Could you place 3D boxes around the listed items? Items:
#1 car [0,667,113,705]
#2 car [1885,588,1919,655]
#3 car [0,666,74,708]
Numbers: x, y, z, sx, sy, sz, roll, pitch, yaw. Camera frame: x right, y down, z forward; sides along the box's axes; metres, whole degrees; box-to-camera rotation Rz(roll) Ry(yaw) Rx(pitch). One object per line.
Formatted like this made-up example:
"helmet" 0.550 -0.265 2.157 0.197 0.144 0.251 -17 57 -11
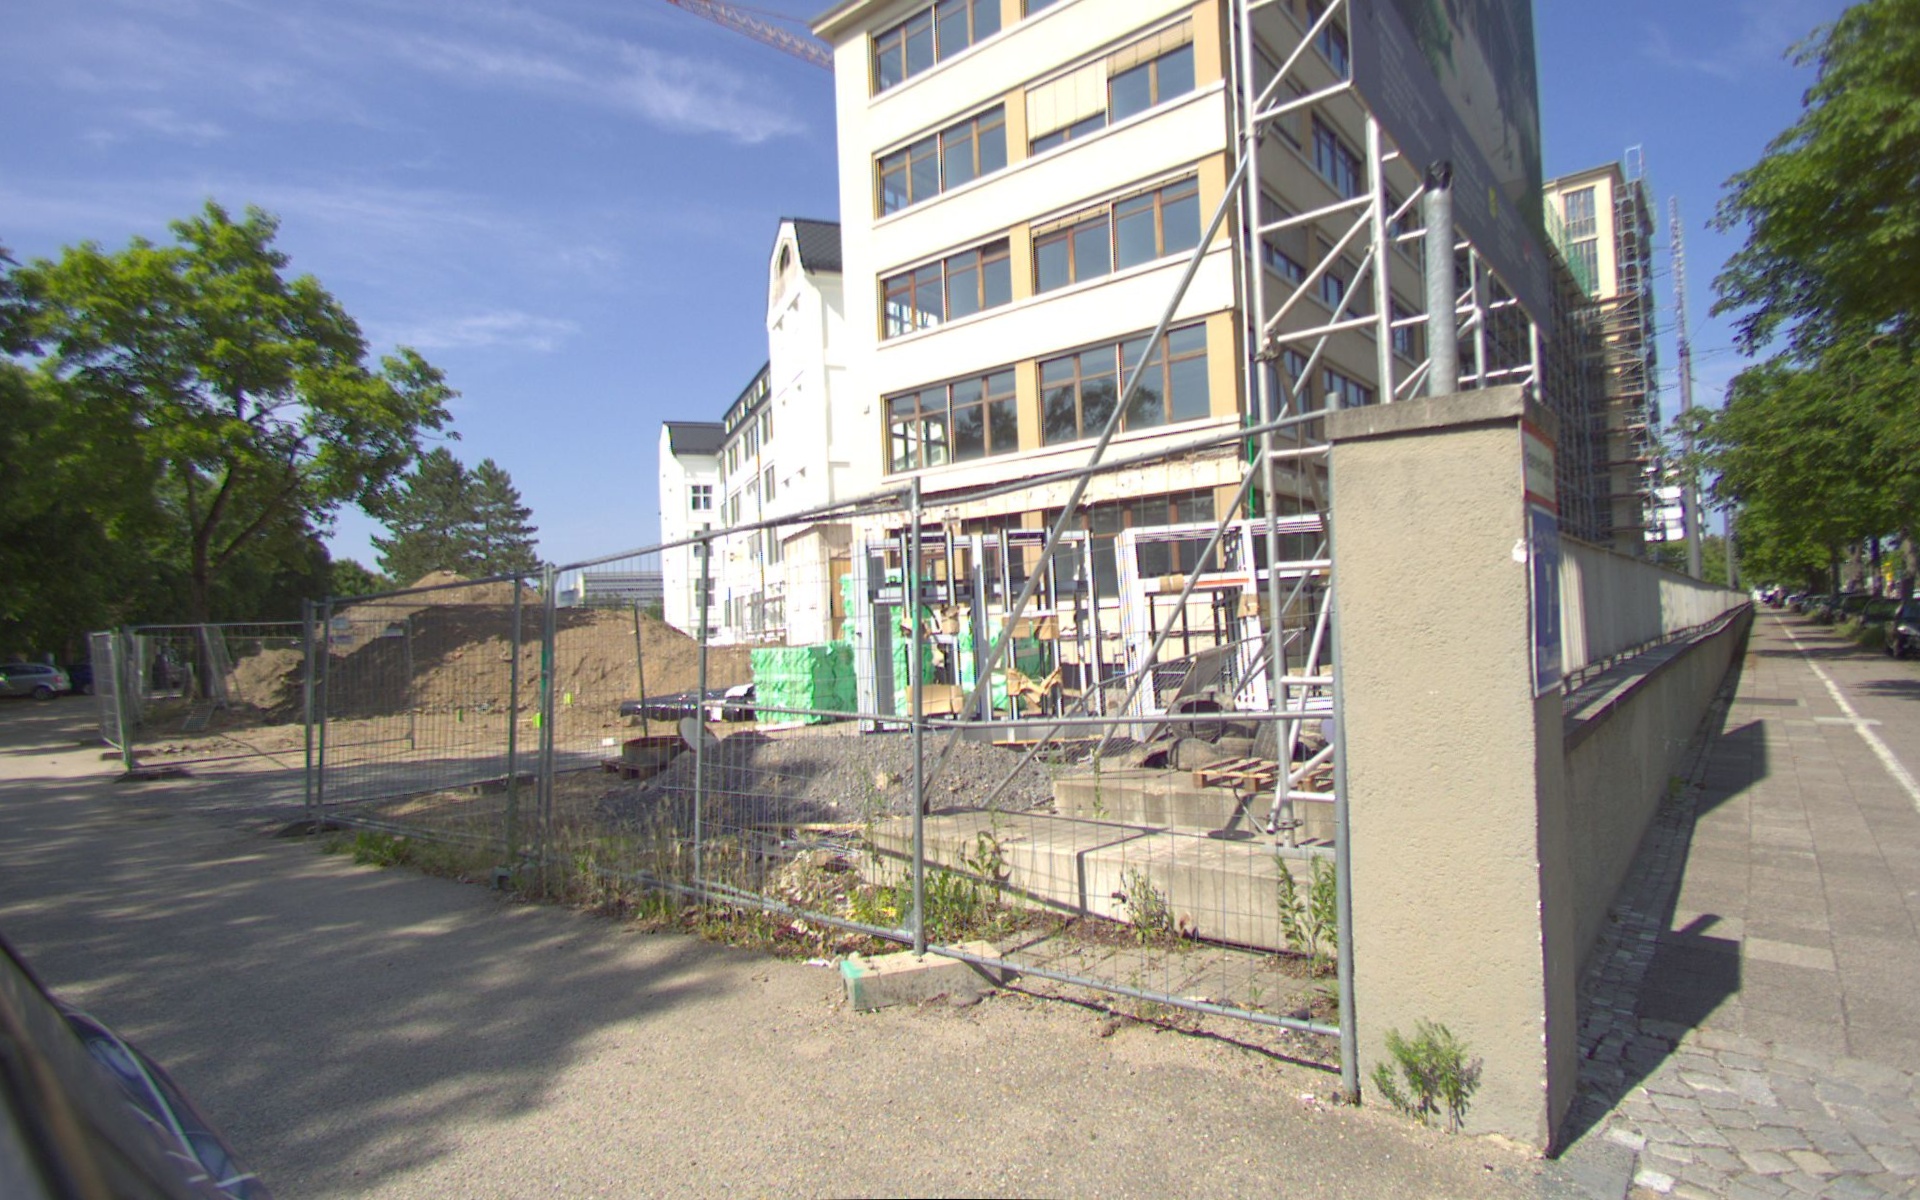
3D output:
"car" -40.660 3.826 45.277 3.932 1.453 2.006 -1 -2 -31
"car" 22.675 0.425 23.172 1.819 1.464 3.949 -4 -2 38
"car" -38.240 3.502 40.457 3.932 1.519 2.006 -1 -2 -31
